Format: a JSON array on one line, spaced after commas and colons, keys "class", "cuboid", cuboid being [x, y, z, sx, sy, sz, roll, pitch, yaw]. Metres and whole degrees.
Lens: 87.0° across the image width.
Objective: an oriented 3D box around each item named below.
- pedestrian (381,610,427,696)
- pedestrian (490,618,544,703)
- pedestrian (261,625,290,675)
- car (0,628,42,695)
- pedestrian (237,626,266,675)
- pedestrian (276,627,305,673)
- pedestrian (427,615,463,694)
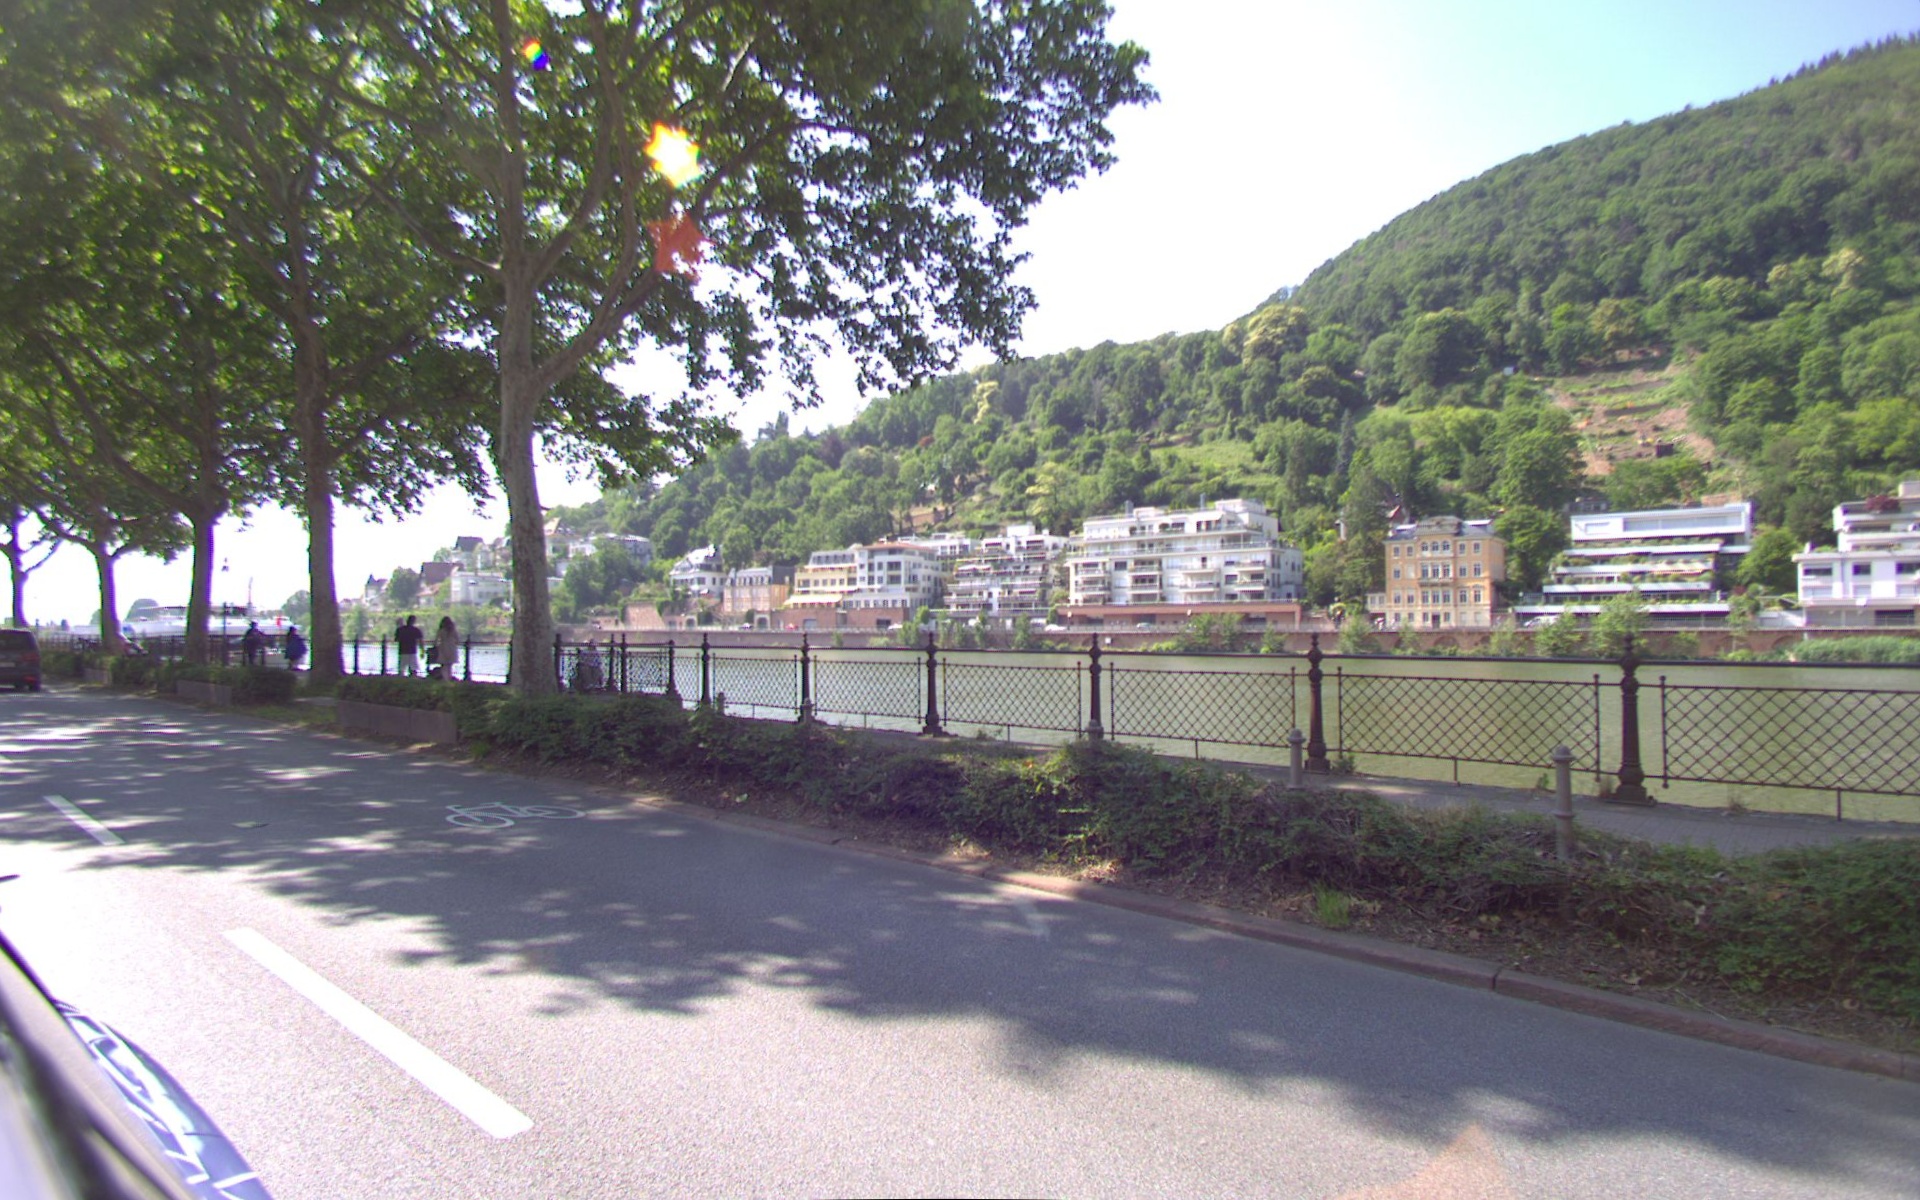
[{"class": "pedestrian", "cuboid": [-12.592, 1.197, 22.920, 0.805, 1.884, 0.634, -2, -4, 42]}, {"class": "pedestrian", "cuboid": [-9.249, 1.259, 21.137, 0.873, 1.730, 0.686, -2, -4, 40]}, {"class": "pedestrian", "cuboid": [-25.244, 1.853, 37.333, 0.705, 1.811, 0.696, -2, -4, 43]}, {"class": "car", "cuboid": [-25.441, 1.576, 26.377, 4.088, 1.660, 1.745, -2, -4, 42]}, {"class": "pedestrian", "cuboid": [-25.661, 1.819, 36.657, 0.705, 1.744, 0.696, -2, -2, 43]}, {"class": "pedestrian", "cuboid": [-24.055, 1.781, 36.368, 0.705, 1.615, 0.696, -2, -2, 43]}, {"class": "pedestrian", "cuboid": [-11.913, 1.253, 23.407, 0.592, 1.782, 0.511, -2, -4, 42]}]
